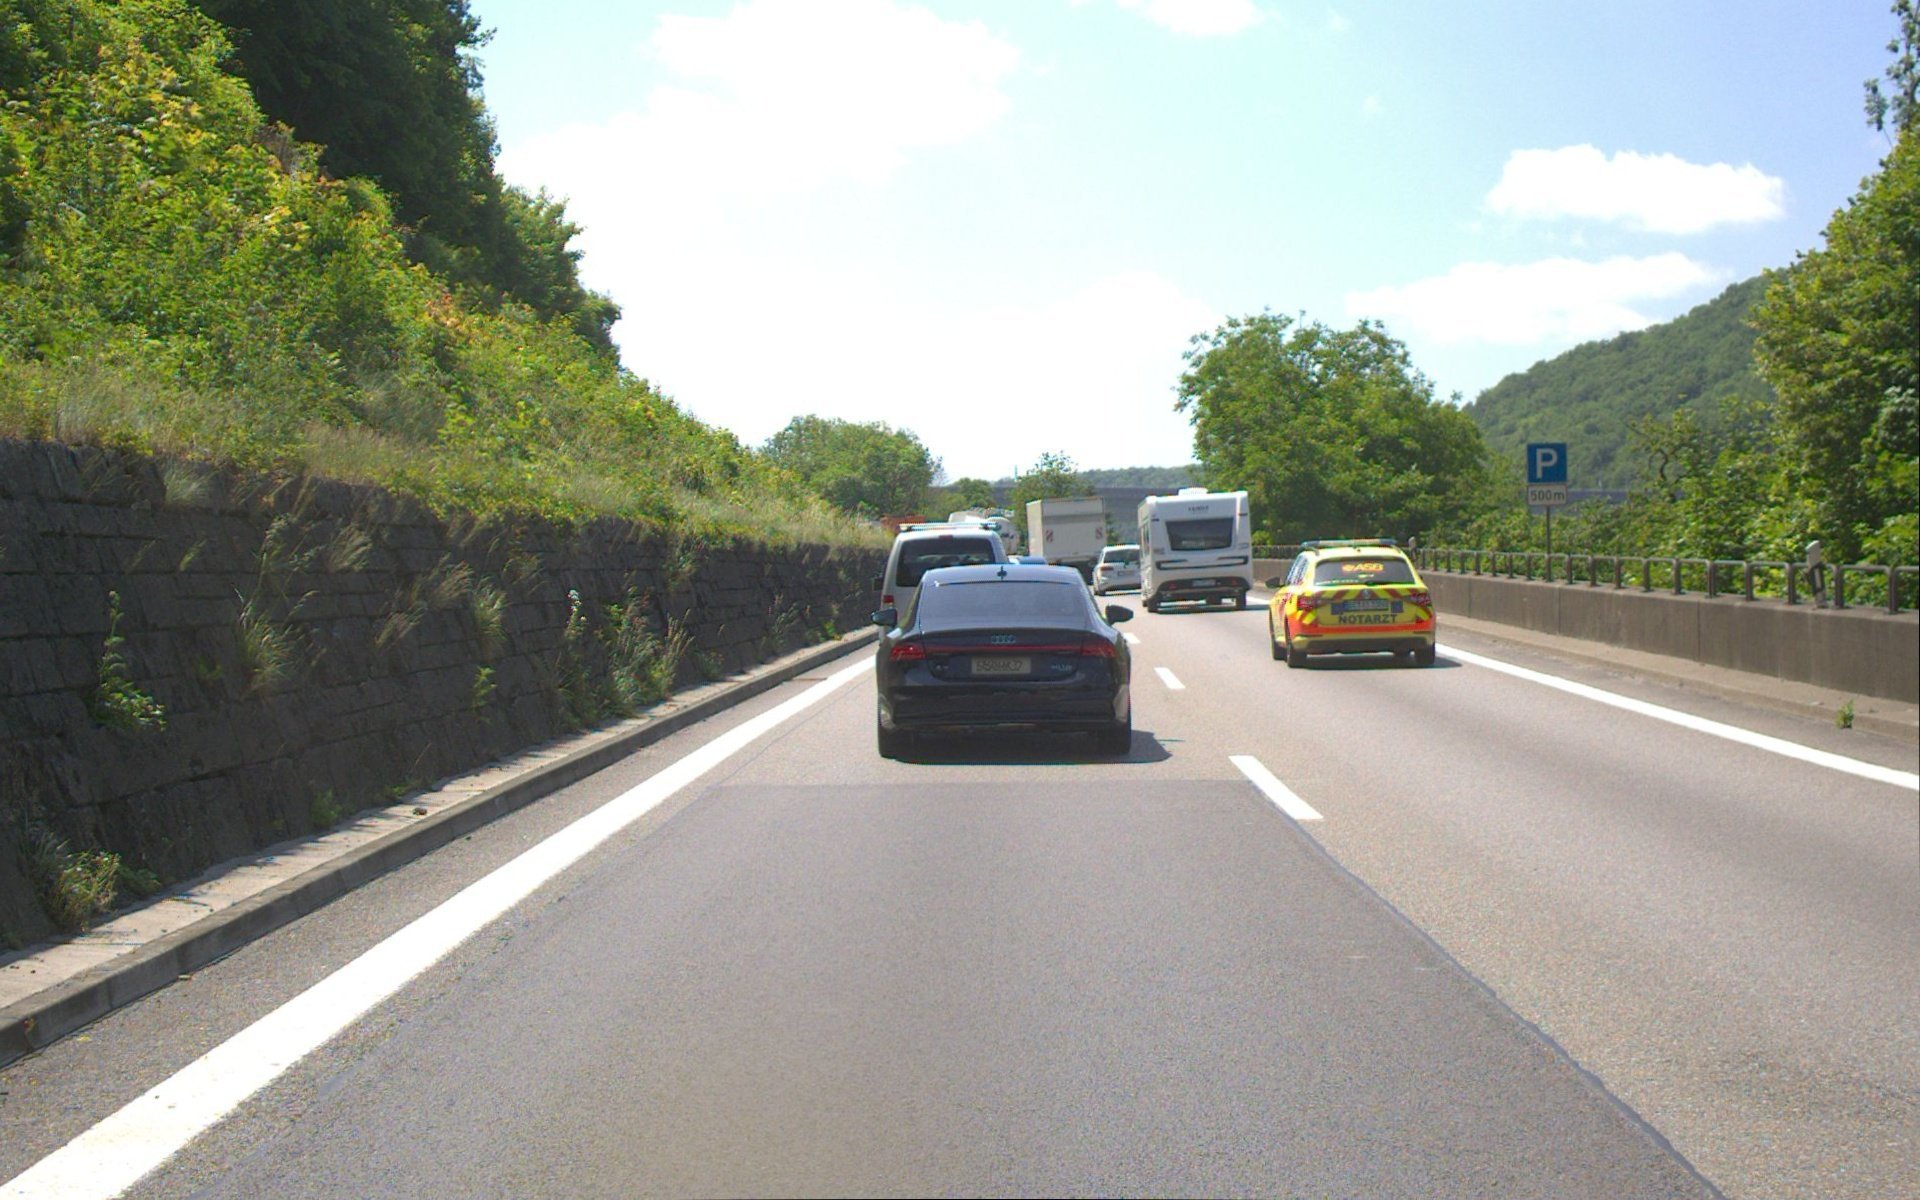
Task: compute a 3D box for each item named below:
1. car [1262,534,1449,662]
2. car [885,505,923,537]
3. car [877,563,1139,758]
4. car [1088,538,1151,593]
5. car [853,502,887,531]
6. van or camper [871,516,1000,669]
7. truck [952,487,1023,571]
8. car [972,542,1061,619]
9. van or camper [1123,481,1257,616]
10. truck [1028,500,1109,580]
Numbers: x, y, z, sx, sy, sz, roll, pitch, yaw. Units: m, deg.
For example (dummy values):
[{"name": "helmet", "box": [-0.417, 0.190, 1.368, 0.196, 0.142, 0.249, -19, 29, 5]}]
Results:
[{"name": "car", "box": [4.879, -0.019, 42.911, 1.863, 1.483, 4.000, 1, 0, 0]}, {"name": "car", "box": [-3.660, -5.118, 223.540, 1.993, 2.007, 4.001, 1, 1, -7]}, {"name": "car", "box": [0.321, 0.437, 26.496, 1.837, 1.345, 4.000, 1, 0, -1]}, {"name": "car", "box": [5.066, -1.121, 109.450, 1.841, 1.711, 4.000, 1, 1, 1]}, {"name": "car", "box": [-6.549, -6.052, 249.650, 1.993, 2.007, 4.001, 1, 1, -8]}, {"name": "van or camper", "box": [-0.347, -0.080, 43.394, 1.391, 1.810, 4.000, 1, 0, -3]}, {"name": "truck", "box": [1.343, -3.544, 171.488, 2.732, 4.082, 7.481, 1, 1, -5]}, {"name": "car", "box": [1.233, -0.455, 76.285, 1.773, 1.631, 4.000, 1, 1, -2]}, {"name": "van or camper", "box": [5.193, -1.117, 78.391, 2.455, 2.908, 6.126, 1, 0, -1]}, {"name": "truck", "box": [4.327, -2.433, 138.767, 2.841, 3.120, 7.480, 1, 1, -1]}]
